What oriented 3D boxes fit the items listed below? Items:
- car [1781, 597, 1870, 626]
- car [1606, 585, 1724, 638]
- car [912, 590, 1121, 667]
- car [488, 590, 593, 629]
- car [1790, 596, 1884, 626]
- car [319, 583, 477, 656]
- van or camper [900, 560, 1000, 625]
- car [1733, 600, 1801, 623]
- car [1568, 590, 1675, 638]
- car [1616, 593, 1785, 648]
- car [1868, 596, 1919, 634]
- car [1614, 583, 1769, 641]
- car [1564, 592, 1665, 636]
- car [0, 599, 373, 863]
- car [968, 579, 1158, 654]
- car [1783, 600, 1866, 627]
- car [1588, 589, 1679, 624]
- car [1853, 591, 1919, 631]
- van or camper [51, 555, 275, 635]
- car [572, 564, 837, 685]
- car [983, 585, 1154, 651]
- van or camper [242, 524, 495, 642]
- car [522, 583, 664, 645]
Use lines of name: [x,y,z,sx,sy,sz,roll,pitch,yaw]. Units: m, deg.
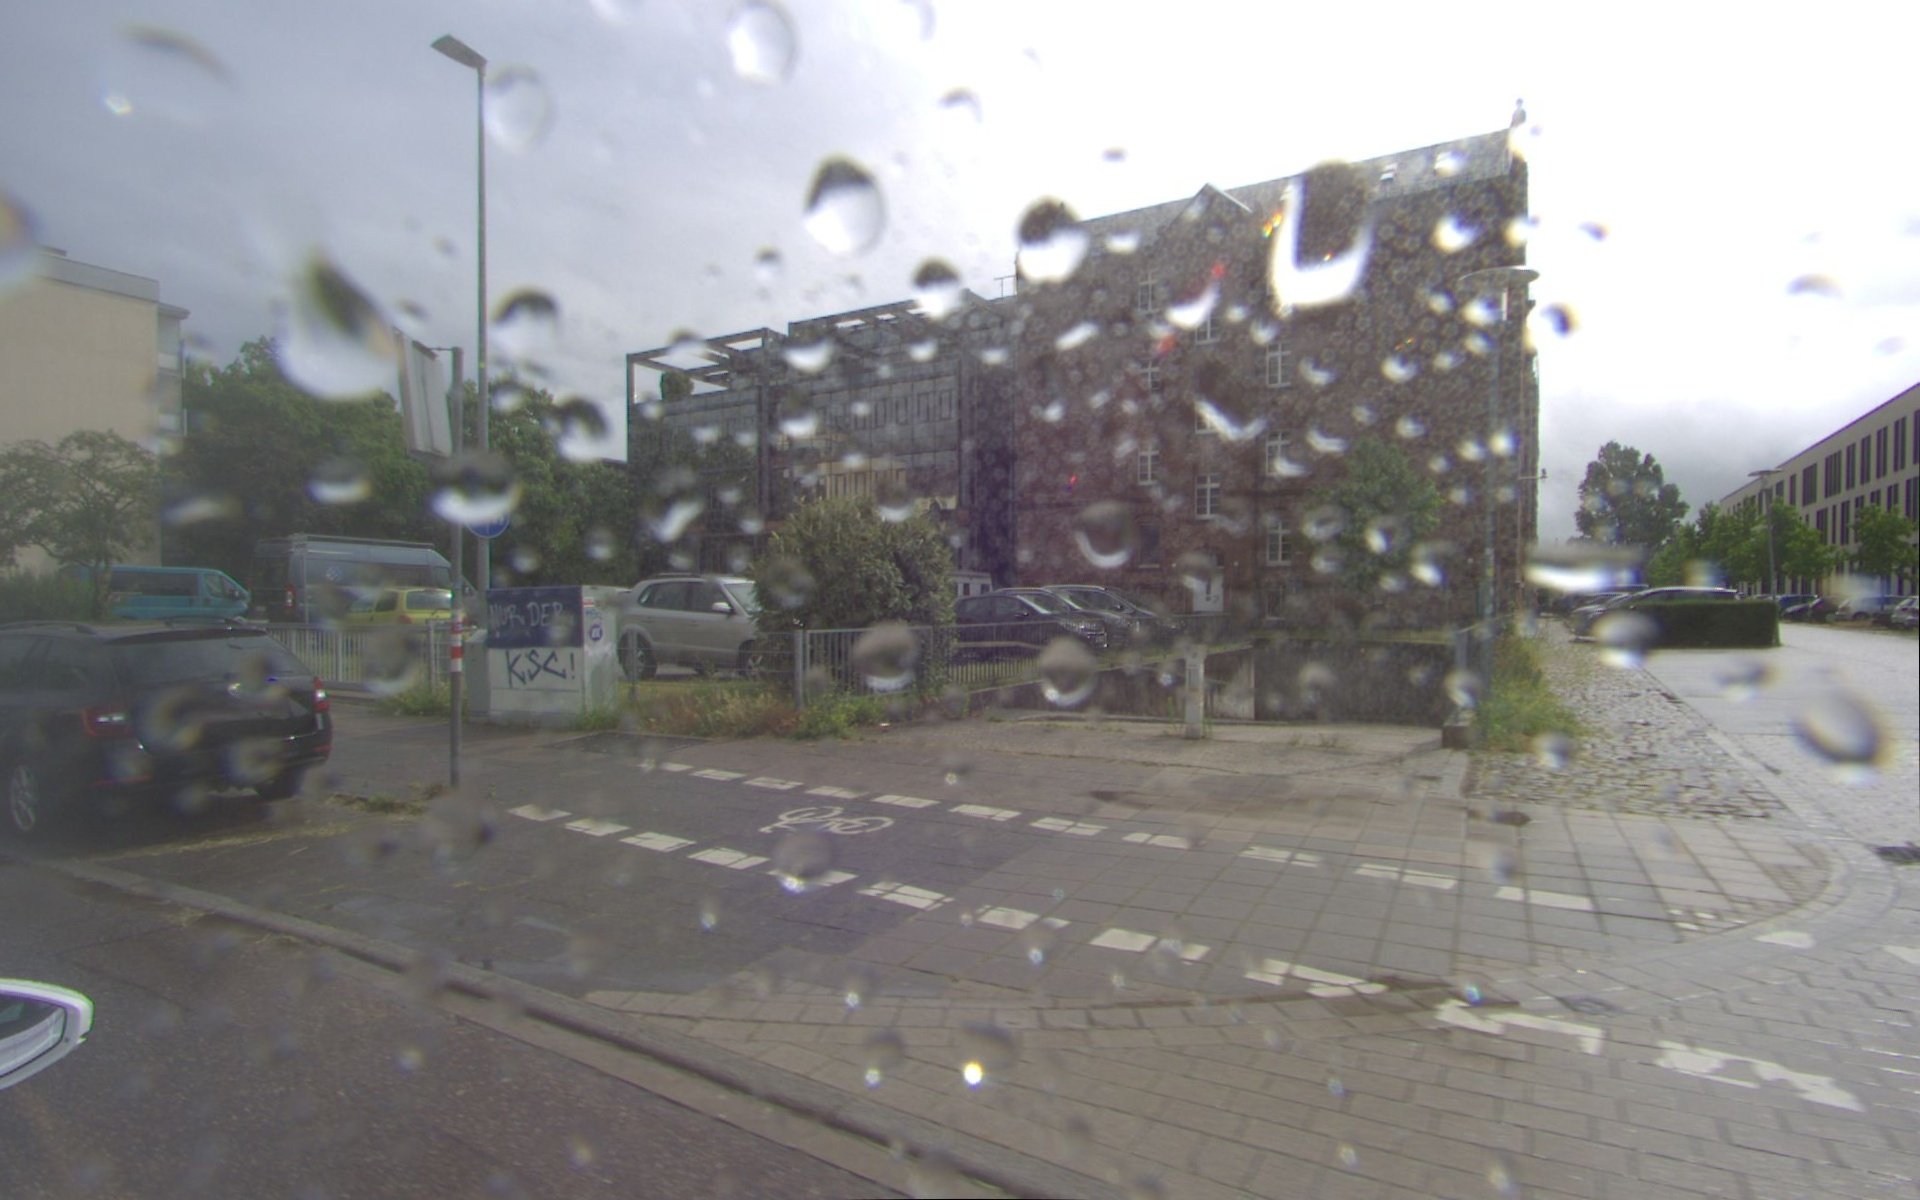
car: [46.985,0.648,54.437,3.432,1.489,1.679,-1,-2,32]
car: [28.170,0.506,40.165,3.752,2.032,1.751,-1,-2,33]
car: [1.200,0.562,22.184,4.363,1.547,1.823,0,1,35]
car: [-17.059,0.362,40.868,1.616,1.506,3.657,0,1,33]
car: [45.669,0.585,52.237,3.432,1.489,1.679,-1,-2,32]
car: [-12.208,0.383,21.717,3.368,1.468,1.607,0,1,33]
van or camper: [-0.361,-0.250,42.923,2.224,2.518,4.783,-1,-2,29]
car: [55.149,0.835,68.489,3.432,1.489,1.679,-1,-2,32]
car: [28.209,0.637,42.827,3.752,1.996,1.751,-1,-2,33]
car: [21.144,0.616,28.791,3.752,1.471,1.751,-1,-2,33]
car: [39.451,0.587,40.644,3.522,1.497,1.699,0,2,31]
car: [22.552,0.412,31.066,3.752,1.713,1.751,-1,-2,33]
car: [29.513,0.661,45.292,3.752,1.923,1.751,-1,-2,33]
car: [-6.850,0.805,7.960,4.310,1.561,1.771,0,3,29]
car: [2.509,0.362,24.871,4.364,1.701,1.847,0,1,36]
car: [50.621,0.813,58.694,3.432,1.489,1.679,-1,-2,32]
car: [33.937,0.366,50.600,3.752,1.671,1.751,-1,-2,33]
car: [40.550,0.483,42.459,3.720,1.638,1.730,-1,-2,32]
van or camper: [-23.464,-0.127,29.683,2.289,2.160,4.748,1,0,33]
car: [-4.243,0.354,16.505,4.174,1.773,1.801,0,1,30]
car: [2.986,0.456,27.834,4.359,1.701,1.849,0,1,32]
van or camper: [-14.461,-0.337,24.827,2.143,2.588,4.990,-1,-1,31]
car: [-9.628,0.334,26.225,3.665,1.506,1.645,0,1,33]
